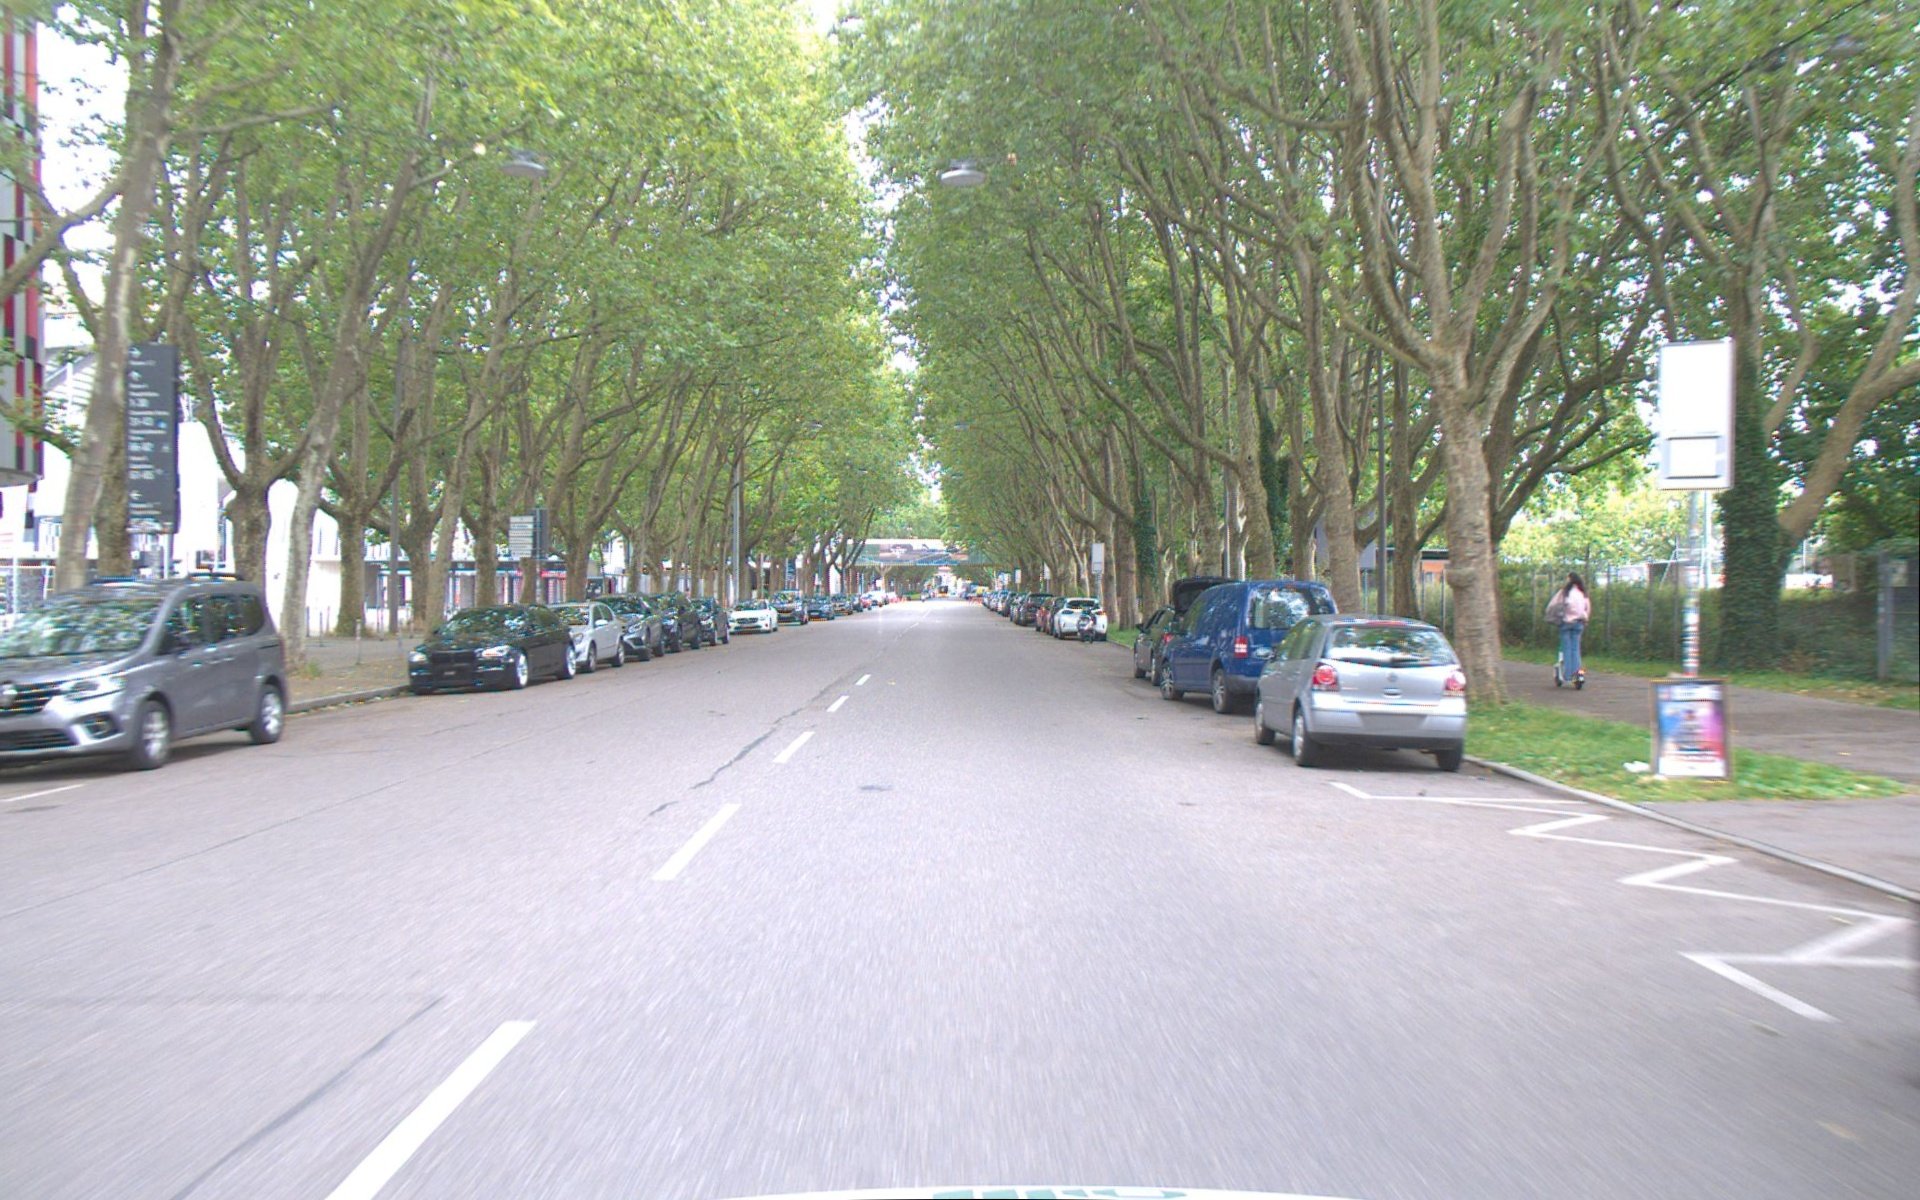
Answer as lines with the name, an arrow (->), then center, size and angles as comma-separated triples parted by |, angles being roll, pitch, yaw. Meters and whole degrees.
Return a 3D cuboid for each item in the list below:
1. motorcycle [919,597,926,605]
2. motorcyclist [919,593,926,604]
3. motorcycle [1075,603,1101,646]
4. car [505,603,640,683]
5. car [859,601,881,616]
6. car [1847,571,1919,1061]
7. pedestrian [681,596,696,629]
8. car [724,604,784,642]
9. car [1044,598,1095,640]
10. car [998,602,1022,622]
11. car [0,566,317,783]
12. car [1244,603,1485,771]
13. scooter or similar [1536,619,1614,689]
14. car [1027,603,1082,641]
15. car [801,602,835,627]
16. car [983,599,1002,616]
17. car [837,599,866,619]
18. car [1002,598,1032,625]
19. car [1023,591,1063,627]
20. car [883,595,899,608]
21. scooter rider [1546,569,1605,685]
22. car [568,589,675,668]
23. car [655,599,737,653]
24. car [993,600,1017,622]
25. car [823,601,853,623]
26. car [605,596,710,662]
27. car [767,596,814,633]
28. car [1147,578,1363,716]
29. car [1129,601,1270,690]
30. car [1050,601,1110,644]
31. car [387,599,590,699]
motorcycle -> -5.007, 0.161, 222.103 | 0.856, 1.098, 3.050 | 0, 0, -4
motorcyclist -> -5.025, -0.181, 222.127 | 0.853, 1.506, 1.264 | 0, 0, -4
motorcycle -> 4.151, 0.777, 53.518 | 0.697, 1.355, 1.994 | 0, 0, 8
car -> -8.115, 0.853, 34.977 | 1.796, 1.481, 4.230 | -3, 0, 0
car -> -9.377, 0.898, 173.066 | 2.031, 1.590, 4.756 | 0, 0, 0
car -> 4.153, 0.764, 3.734 | 1.792, 1.630, 4.466 | 2, 0, -1
pedestrian -> -14.530, 0.669, 88.522 | 0.564, 1.801, 0.768 | 0, 0, 14
car -> -8.666, 0.943, 69.925 | 1.865, 1.427, 4.751 | -3, 0, 0
car -> 4.233, 0.719, 64.465 | 1.694, 1.496, 4.080 | 3, 0, 1
car -> 3.700, 0.904, 123.092 | 1.672, 1.452, 3.889 | 1, 0, 0
car -> -8.304, 0.673, 16.607 | 1.857, 1.827, 4.612 | -3, 0, -1
car -> 4.104, 0.812, 17.374 | 1.585, 1.487, 3.946 | 2, 0, 1
scooter or similar -> 9.969, 0.858, 26.852 | 0.666, 1.056, 1.467 | -3, 0, 0
car -> 3.938, 0.897, 69.376 | 1.682, 1.464, 4.625 | 2, 0, -4
car -> -8.661, 0.850, 101.239 | 1.689, 1.512, 4.574 | 0, 0, 0
car -> 3.137, 0.740, 160.017 | 1.766, 1.583, 3.999 | 0, 0, -1
car -> -8.594, 0.730, 131.278 | 1.789, 1.491, 4.628 | -1, 0, 2
car -> 3.756, 0.753, 110.113 | 1.673, 1.728, 4.629 | 2, 0, -2
car -> 4.021, 0.429, 80.776 | 1.719, 1.648, 4.439 | 2, 0, 0
car -> -9.426, 0.208, 226.231 | 1.955, 1.629, 3.996 | 0, 0, -5
scooter rider -> 9.955, 0.433, 26.762 | 0.662, 1.831, 0.587 | -2, 0, 0
car -> -8.245, 0.663, 40.655 | 1.832, 1.748, 4.645 | -3, 0, -3
car -> -8.274, 0.777, 52.222 | 1.796, 1.520, 4.442 | -3, 0, 0
car -> 3.719, 0.935, 136.953 | 1.864, 1.769, 4.506 | 0, 0, 0
car -> -8.800, 0.875, 119.248 | 1.839, 1.553, 4.151 | -1, 0, 0
car -> -8.458, 0.775, 46.666 | 1.898, 1.671, 4.928 | -3, 0, 1
car -> -8.529, 0.709, 83.533 | 1.909, 1.781, 4.637 | -2, 0, -1
car -> 4.276, 0.622, 24.711 | 1.808, 1.814, 4.438 | 2, 0, -9
car -> 4.400, 0.795, 30.993 | 1.953, 1.504, 4.371 | 1, 0, 0
car -> 4.222, 0.778, 58.654 | 1.700, 1.464, 4.121 | 0, 0, -2
car -> -8.309, 0.796, 29.706 | 2.041, 1.556, 5.146 | -1, 0, 1
